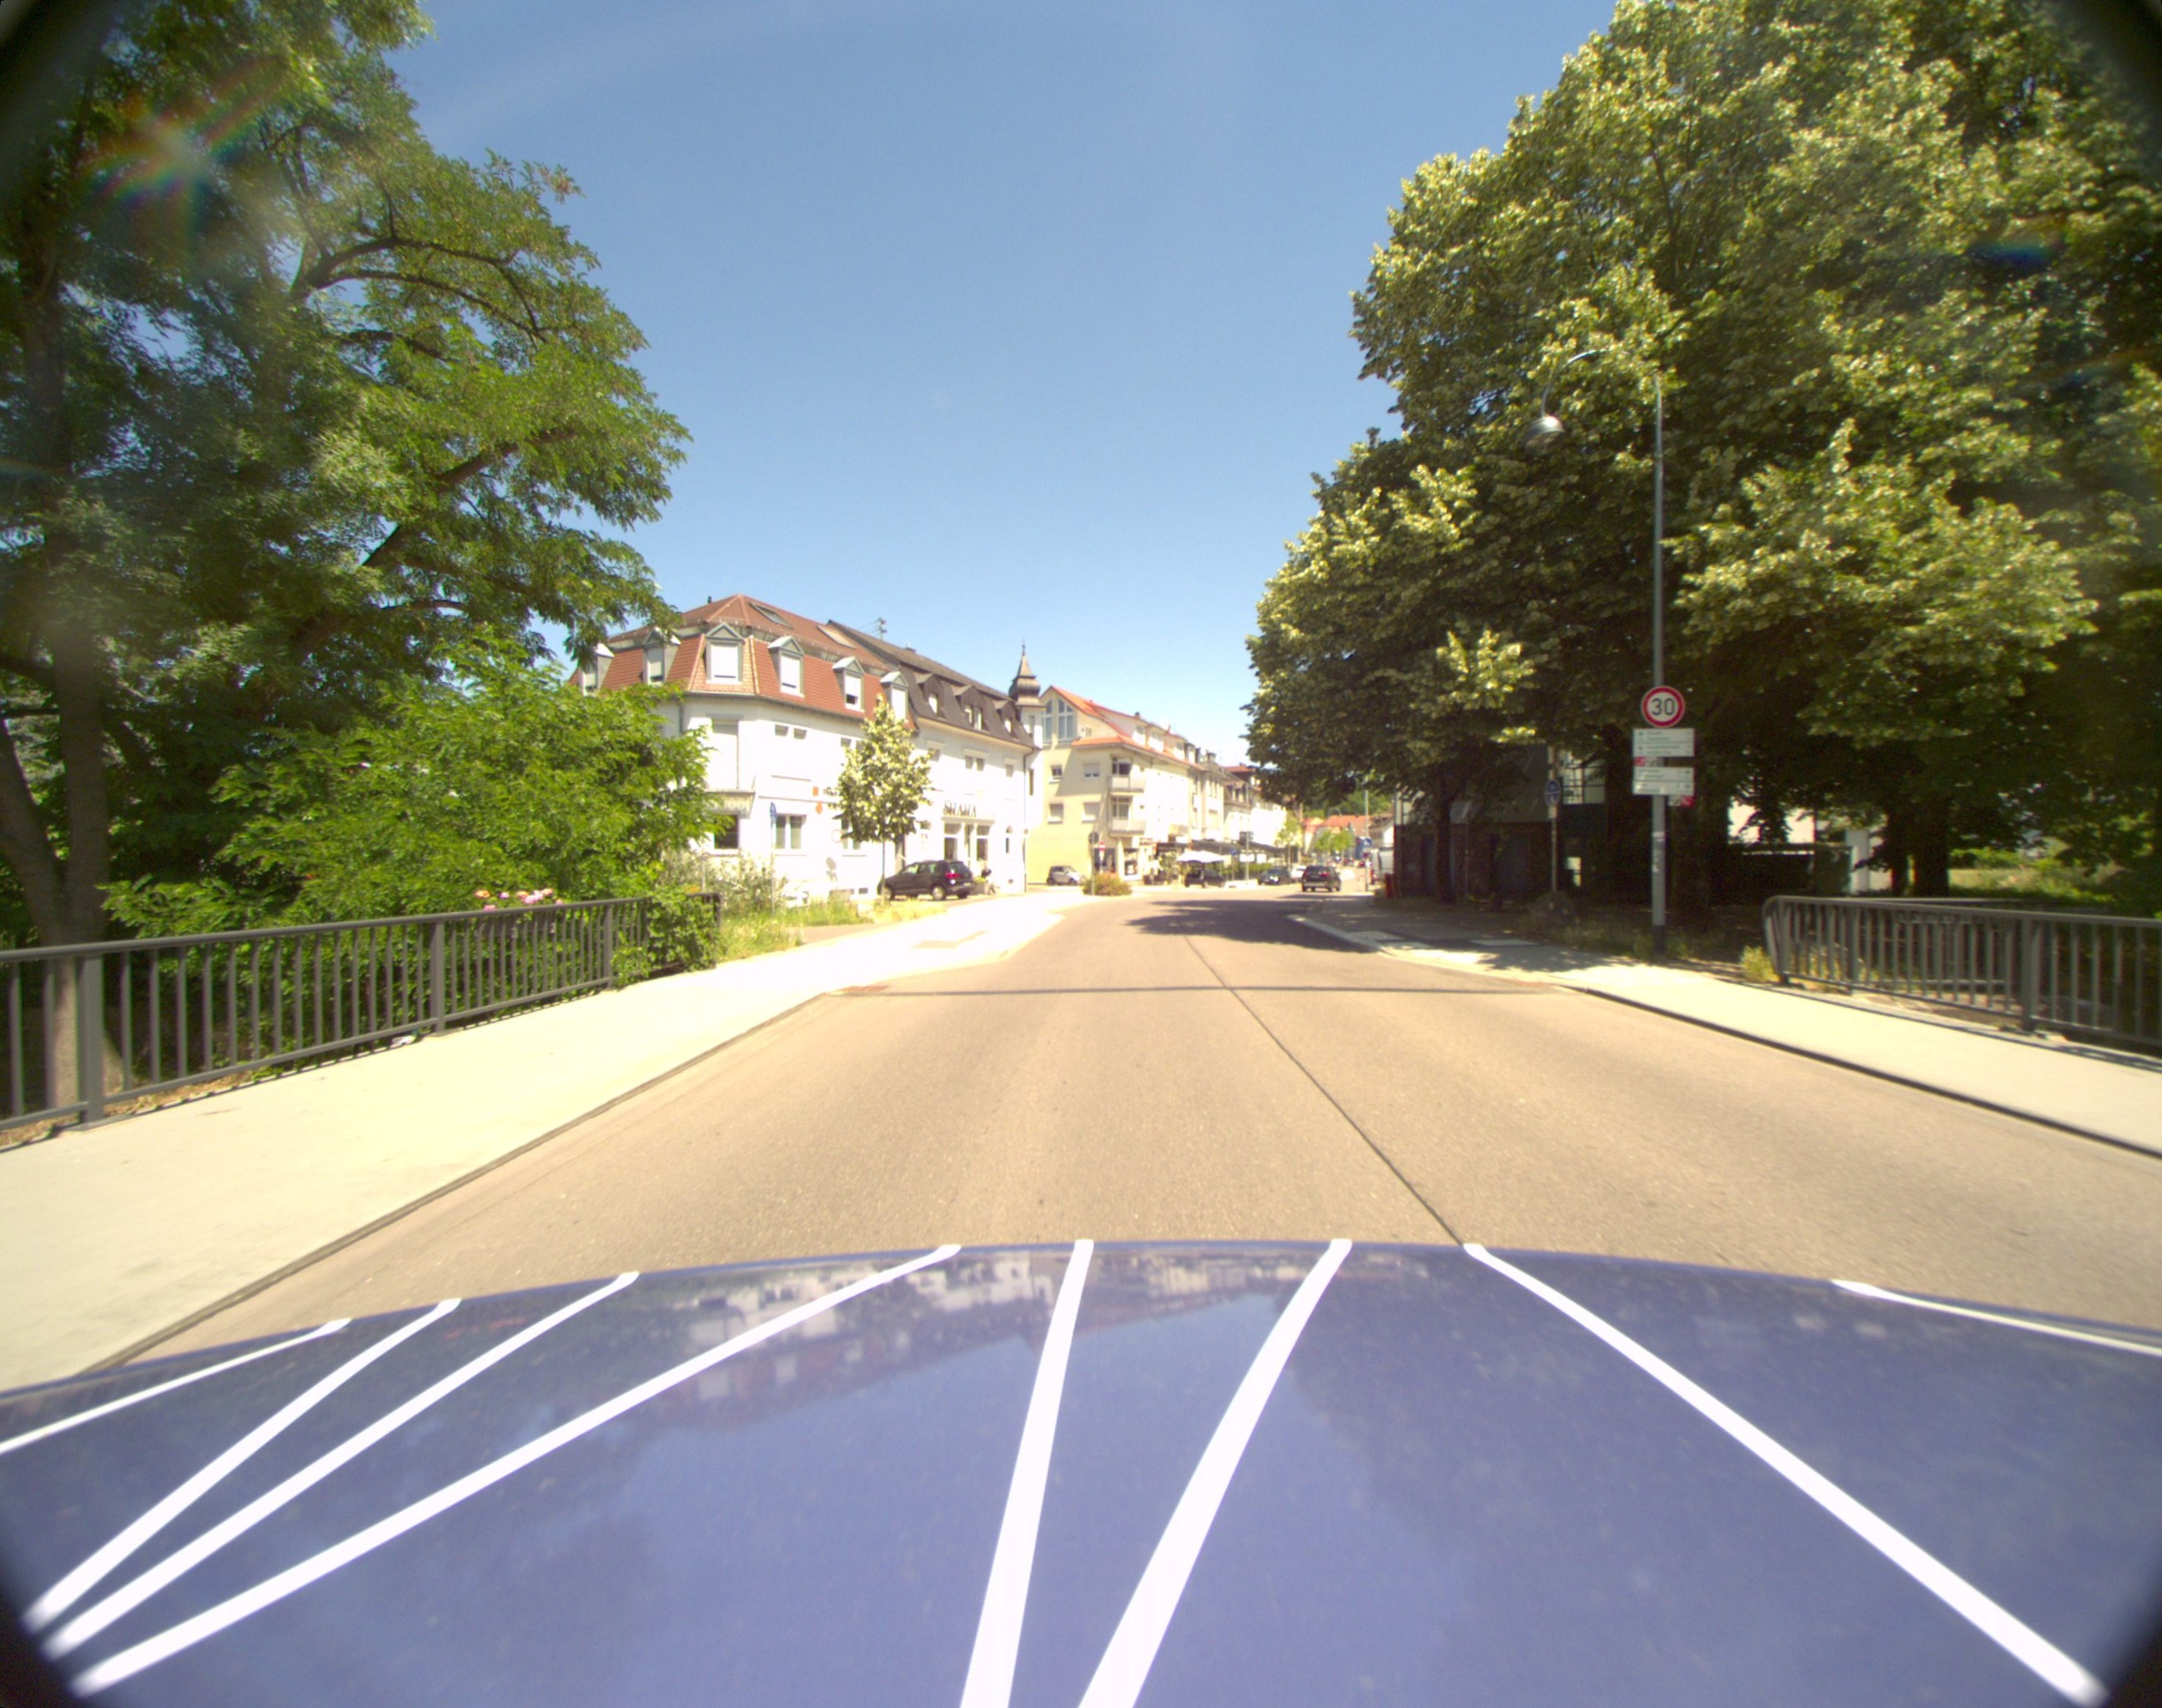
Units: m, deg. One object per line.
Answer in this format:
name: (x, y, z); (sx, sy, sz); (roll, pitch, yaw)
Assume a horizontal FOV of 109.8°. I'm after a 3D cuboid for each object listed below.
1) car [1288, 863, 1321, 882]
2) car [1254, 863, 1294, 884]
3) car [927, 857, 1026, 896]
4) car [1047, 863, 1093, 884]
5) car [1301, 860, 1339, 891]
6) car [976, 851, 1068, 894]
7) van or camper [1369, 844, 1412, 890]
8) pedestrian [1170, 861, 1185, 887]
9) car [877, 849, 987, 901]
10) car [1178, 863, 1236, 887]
car: (20.705, 1.682, 70.324); (1.995, 1.674, 4.008); (-1, 0, 31)
car: (16.245, 1.652, 63.703); (1.994, 1.705, 4.009); (1, -1, 33)
car: (-4.783, 1.028, 34.723); (3.990, 1.660, 2.004); (-2, -2, 27)
car: (-0.813, 1.443, 56.964); (3.038, 1.444, 1.570); (-2, 0, 23)
car: (14.802, 1.337, 46.890); (1.995, 1.830, 4.007); (0, -1, 21)
car: (-2.873, 0.892, 36.971); (3.990, 2.001, 2.004); (-1, -1, 27)
van or camper: (20.437, 0.818, 50.022); (1.995, 2.788, 5.046); (-3, 0, 28)
pedestrian: (6.878, 1.420, 54.122); (0.814, 1.745, 0.636); (2, 2, 24)
car: (-6.191, 0.880, 31.552); (3.990, 2.002, 2.003); (-2, 0, 27)
car: (9.186, 1.545, 55.246); (4.009, 1.705, 1.994); (2, -1, -41)
